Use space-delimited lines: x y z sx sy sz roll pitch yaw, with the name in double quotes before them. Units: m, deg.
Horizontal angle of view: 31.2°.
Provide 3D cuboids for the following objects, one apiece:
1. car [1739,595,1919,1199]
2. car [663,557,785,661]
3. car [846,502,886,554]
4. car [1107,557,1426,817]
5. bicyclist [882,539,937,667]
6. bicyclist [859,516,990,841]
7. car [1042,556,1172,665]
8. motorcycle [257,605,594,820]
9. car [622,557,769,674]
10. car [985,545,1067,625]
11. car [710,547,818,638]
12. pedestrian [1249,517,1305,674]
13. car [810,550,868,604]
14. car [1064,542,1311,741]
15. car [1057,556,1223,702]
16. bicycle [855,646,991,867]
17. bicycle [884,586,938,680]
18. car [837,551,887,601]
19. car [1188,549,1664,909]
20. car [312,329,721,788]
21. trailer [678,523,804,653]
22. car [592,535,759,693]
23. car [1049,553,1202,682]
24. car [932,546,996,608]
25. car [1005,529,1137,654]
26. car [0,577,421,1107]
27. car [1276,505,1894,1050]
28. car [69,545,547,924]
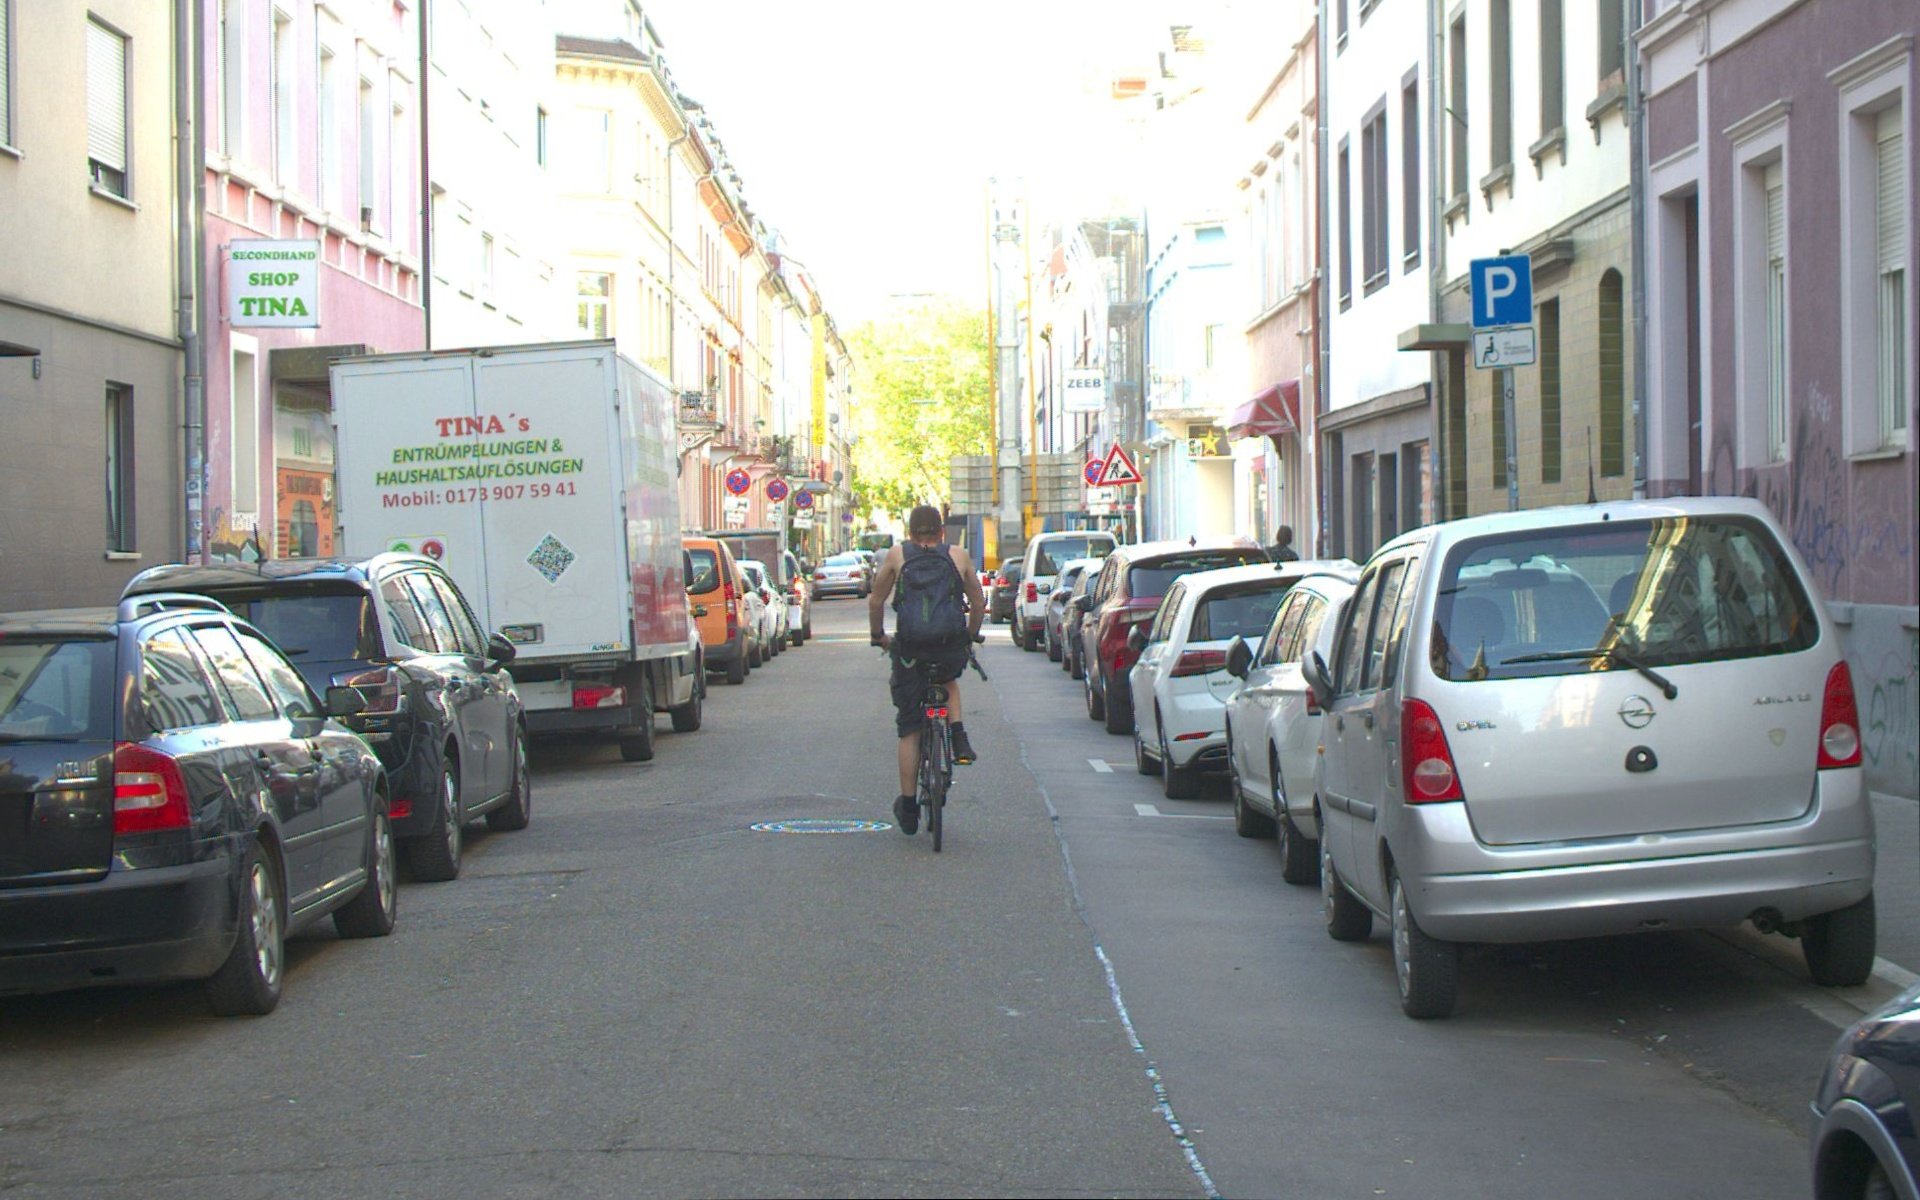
"car" 2.268 0.758 4.400 1.552 1.506 3.612 0 0 -3
"car" -3.658 0.126 53.832 1.653 1.532 3.634 -2 0 -1
"car" -4.343 -3.315 159.190 1.750 2.310 3.796 -2 0 -1
"car" 1.993 0.530 23.432 1.686 1.538 4.046 -3 0 -1
"bicyclist" -0.628 0.030 42.400 0.671 1.562 0.716 0 0 -1
"bicyclist" -0.192 0.401 18.233 0.667 1.671 1.097 0 0 -1
"car" 2.106 0.132 50.093 1.750 1.481 3.799 -2 0 1
"motorcycle" -3.468 0.714 22.484 0.791 1.248 2.102 -2 1 41
"car" -3.699 0.200 48.722 1.750 1.532 4.319 -2 0 -1
"car" 1.379 -0.320 72.667 1.611 1.628 3.610 0 0 -1
"car" -3.539 -0.143 62.608 1.750 1.567 3.796 -2 0 -1
"pedestrian" 4.086 -0.056 44.349 0.644 2.007 0.764 0 0 -1
"car" -3.919 -0.742 111.638 1.750 1.678 3.796 -2 0 -1
"car" 2.015 0.324 31.587 1.918 1.700 4.366 0 1 -1
"car" 2.026 0.302 39.629 1.667 1.500 3.816 -4 0 1
"bicycle" -0.200 0.798 18.216 0.677 1.071 1.942 0 0 -1
"bicycle" -0.599 0.389 42.406 0.648 1.126 2.136 0 0 -1
"car" -3.652 -0.904 128.807 1.750 1.815 3.796 -2 0 -1
"car" 2.252 0.566 17.782 1.696 1.538 4.629 -3 0 -1
"car" -3.527 -0.331 28.971 2.343 3.280 7.154 -3 0 0
"trailer" -3.680 -0.211 58.418 1.882 2.085 3.737 -2 0 -1
"car" -3.530 0.163 43.242 1.752 1.810 4.078 -3 0 -1
"car" 2.093 0.205 44.381 1.646 1.470 3.971 -5 0 0
"car" 0.084 -0.596 88.742 1.611 1.555 3.610 0 0 -1
"car" 1.739 -0.138 55.155 1.750 1.872 3.973 -2 0 -3
"car" -3.198 0.749 12.614 1.716 1.473 4.499 -3 2 -1
"car" 2.129 0.549 12.591 1.556 1.706 3.559 0 0 -1
"car" -3.336 0.604 18.384 1.716 1.644 4.246 -3 2 -1
